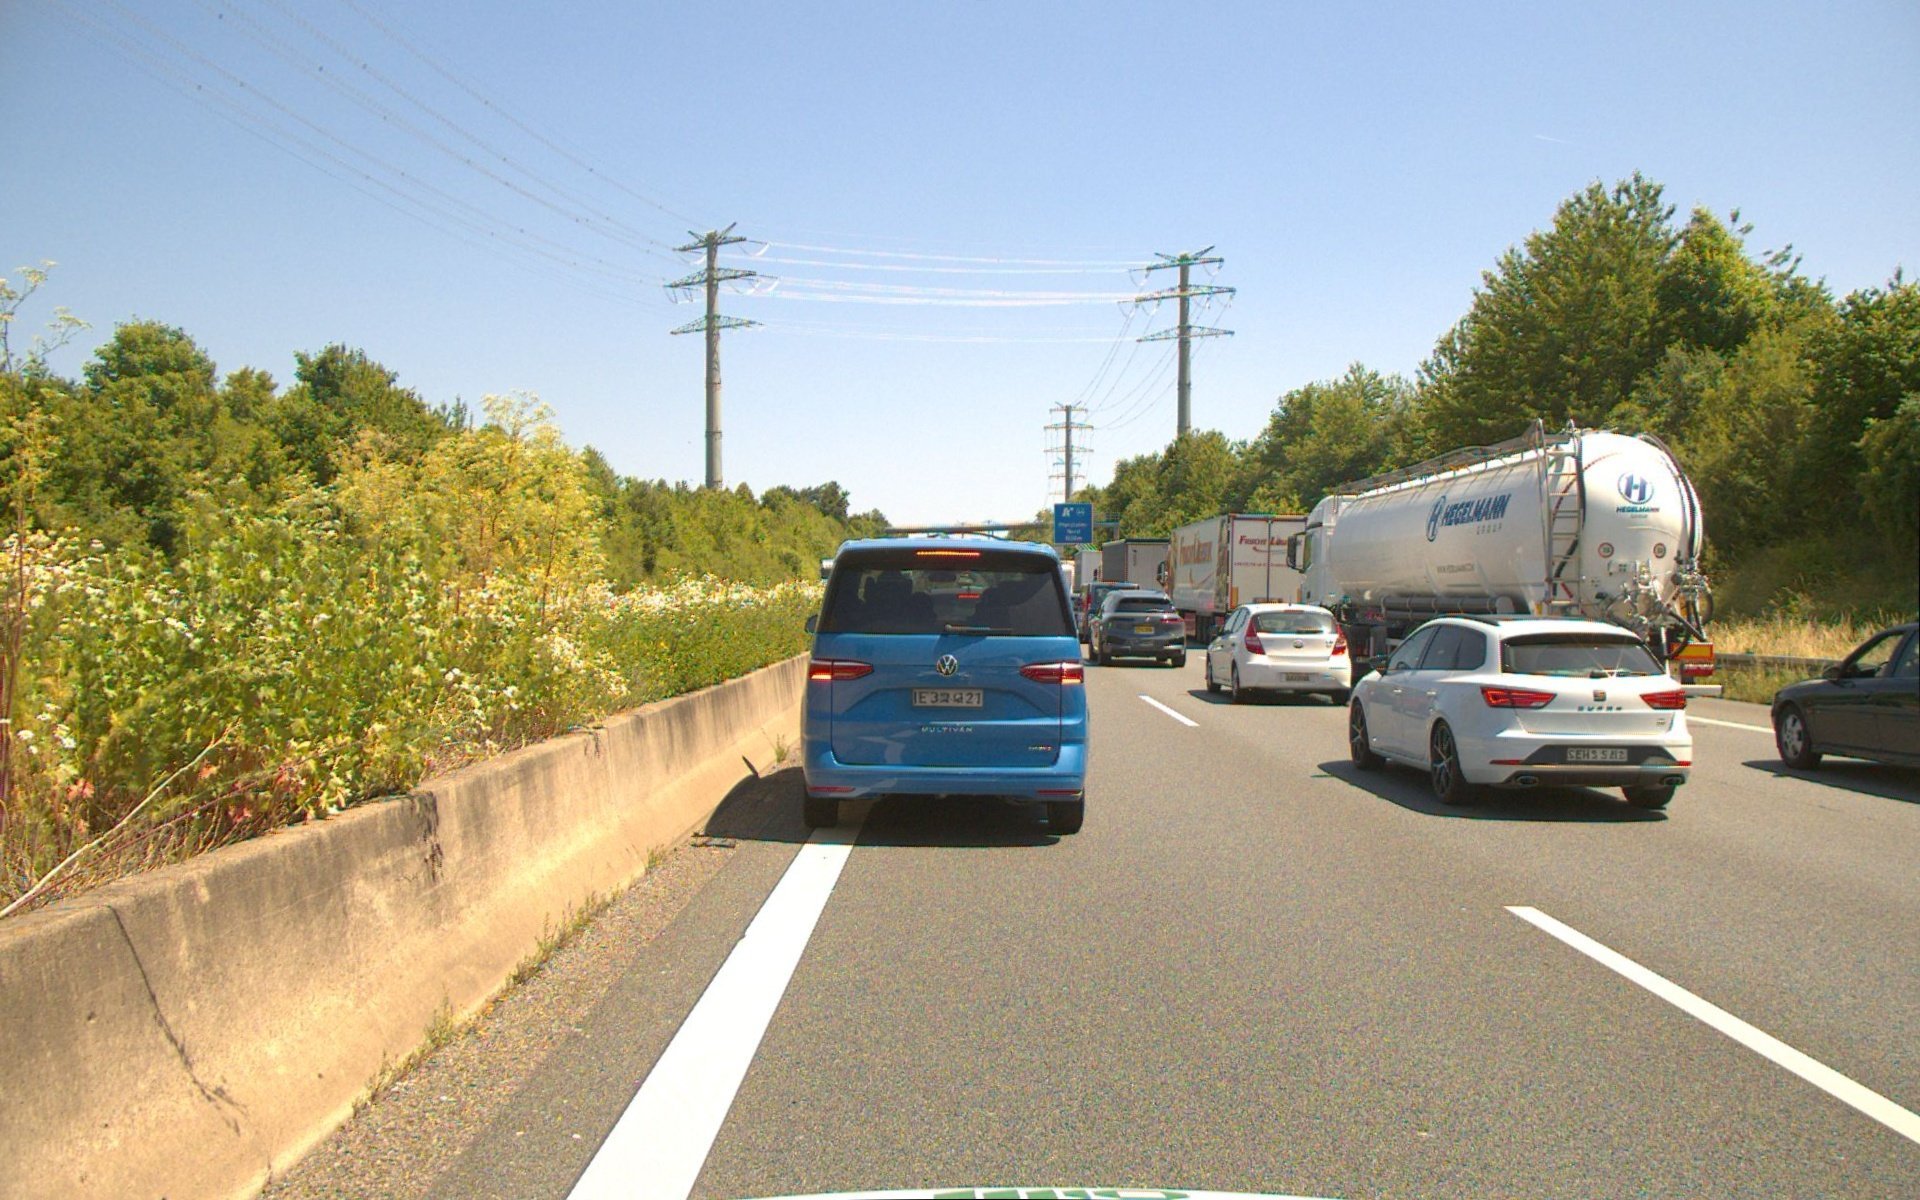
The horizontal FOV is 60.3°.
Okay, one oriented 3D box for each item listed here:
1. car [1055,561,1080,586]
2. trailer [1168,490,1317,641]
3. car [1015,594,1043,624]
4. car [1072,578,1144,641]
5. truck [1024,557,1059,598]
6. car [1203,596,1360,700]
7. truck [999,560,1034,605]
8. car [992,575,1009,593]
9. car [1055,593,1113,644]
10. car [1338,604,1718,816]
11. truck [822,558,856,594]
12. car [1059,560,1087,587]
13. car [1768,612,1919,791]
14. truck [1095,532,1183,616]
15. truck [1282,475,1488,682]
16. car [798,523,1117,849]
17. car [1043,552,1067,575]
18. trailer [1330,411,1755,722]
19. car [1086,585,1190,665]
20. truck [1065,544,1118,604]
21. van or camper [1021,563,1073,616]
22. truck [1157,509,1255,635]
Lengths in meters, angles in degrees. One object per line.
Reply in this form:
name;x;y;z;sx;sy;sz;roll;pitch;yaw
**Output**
car;9.178;-2.270;141.566;1.952;2.049;4.000;0;0;0
trailer;9.312;-1.032;56.086;2.853;4.547;12.152;-1;0;0
car;4.751;0.641;114.637;1.798;2.033;4.000;-1;-1;1
car;4.853;0.322;54.908;1.884;1.959;4.234;-2;-1;-1
truck;9.627;-2.644;196.855;3.493;4.596;10.291;0;0;0
car;4.985;0.727;26.151;1.779;1.511;4.000;-1;-1;1
truck;4.965;-1.476;146.444;2.835;3.832;10.140;0;0;1
car;5.104;-1.987;207.961;1.953;2.163;3.999;0;0;-1
car;4.969;0.754;66.770;1.884;1.959;4.234;-2;-1;-1
car;4.474;0.801;13.756;1.711;1.468;4.313;-1;-1;1
truck;-13.582;-2.652;186.523;2.852;3.886;11.943;1;0;0
car;8.997;-2.100;131.715;1.952;2.049;4.000;0;0;0
car;8.674;0.832;14.107;1.607;1.441;3.989;-2;-1;1
truck;8.837;-1.138;83.596;2.944;3.832;15.713;0;0;1
truck;8.595;-0.403;34.102;2.736;3.903;5.571;-1;0;-1
car;-0.010;0.508;11.910;1.881;1.919;4.000;1;0;0
car;8.730;-3.326;152.024;1.952;2.049;4.000;0;0;0
trailer;8.663;-0.415;26.704;2.705;3.912;11.484;-1;0;0
car;4.099;0.580;38.781;1.958;1.745;4.625;-1;-1;1
truck;8.975;-1.654;114.192;2.835;3.832;13.345;0;0;1
van or camper;5.144;-0.579;98.567;2.896;3.075;7.103;0;0;1
truck;9.259;-1.011;62.696;2.853;4.547;5.142;-1;0;-1
